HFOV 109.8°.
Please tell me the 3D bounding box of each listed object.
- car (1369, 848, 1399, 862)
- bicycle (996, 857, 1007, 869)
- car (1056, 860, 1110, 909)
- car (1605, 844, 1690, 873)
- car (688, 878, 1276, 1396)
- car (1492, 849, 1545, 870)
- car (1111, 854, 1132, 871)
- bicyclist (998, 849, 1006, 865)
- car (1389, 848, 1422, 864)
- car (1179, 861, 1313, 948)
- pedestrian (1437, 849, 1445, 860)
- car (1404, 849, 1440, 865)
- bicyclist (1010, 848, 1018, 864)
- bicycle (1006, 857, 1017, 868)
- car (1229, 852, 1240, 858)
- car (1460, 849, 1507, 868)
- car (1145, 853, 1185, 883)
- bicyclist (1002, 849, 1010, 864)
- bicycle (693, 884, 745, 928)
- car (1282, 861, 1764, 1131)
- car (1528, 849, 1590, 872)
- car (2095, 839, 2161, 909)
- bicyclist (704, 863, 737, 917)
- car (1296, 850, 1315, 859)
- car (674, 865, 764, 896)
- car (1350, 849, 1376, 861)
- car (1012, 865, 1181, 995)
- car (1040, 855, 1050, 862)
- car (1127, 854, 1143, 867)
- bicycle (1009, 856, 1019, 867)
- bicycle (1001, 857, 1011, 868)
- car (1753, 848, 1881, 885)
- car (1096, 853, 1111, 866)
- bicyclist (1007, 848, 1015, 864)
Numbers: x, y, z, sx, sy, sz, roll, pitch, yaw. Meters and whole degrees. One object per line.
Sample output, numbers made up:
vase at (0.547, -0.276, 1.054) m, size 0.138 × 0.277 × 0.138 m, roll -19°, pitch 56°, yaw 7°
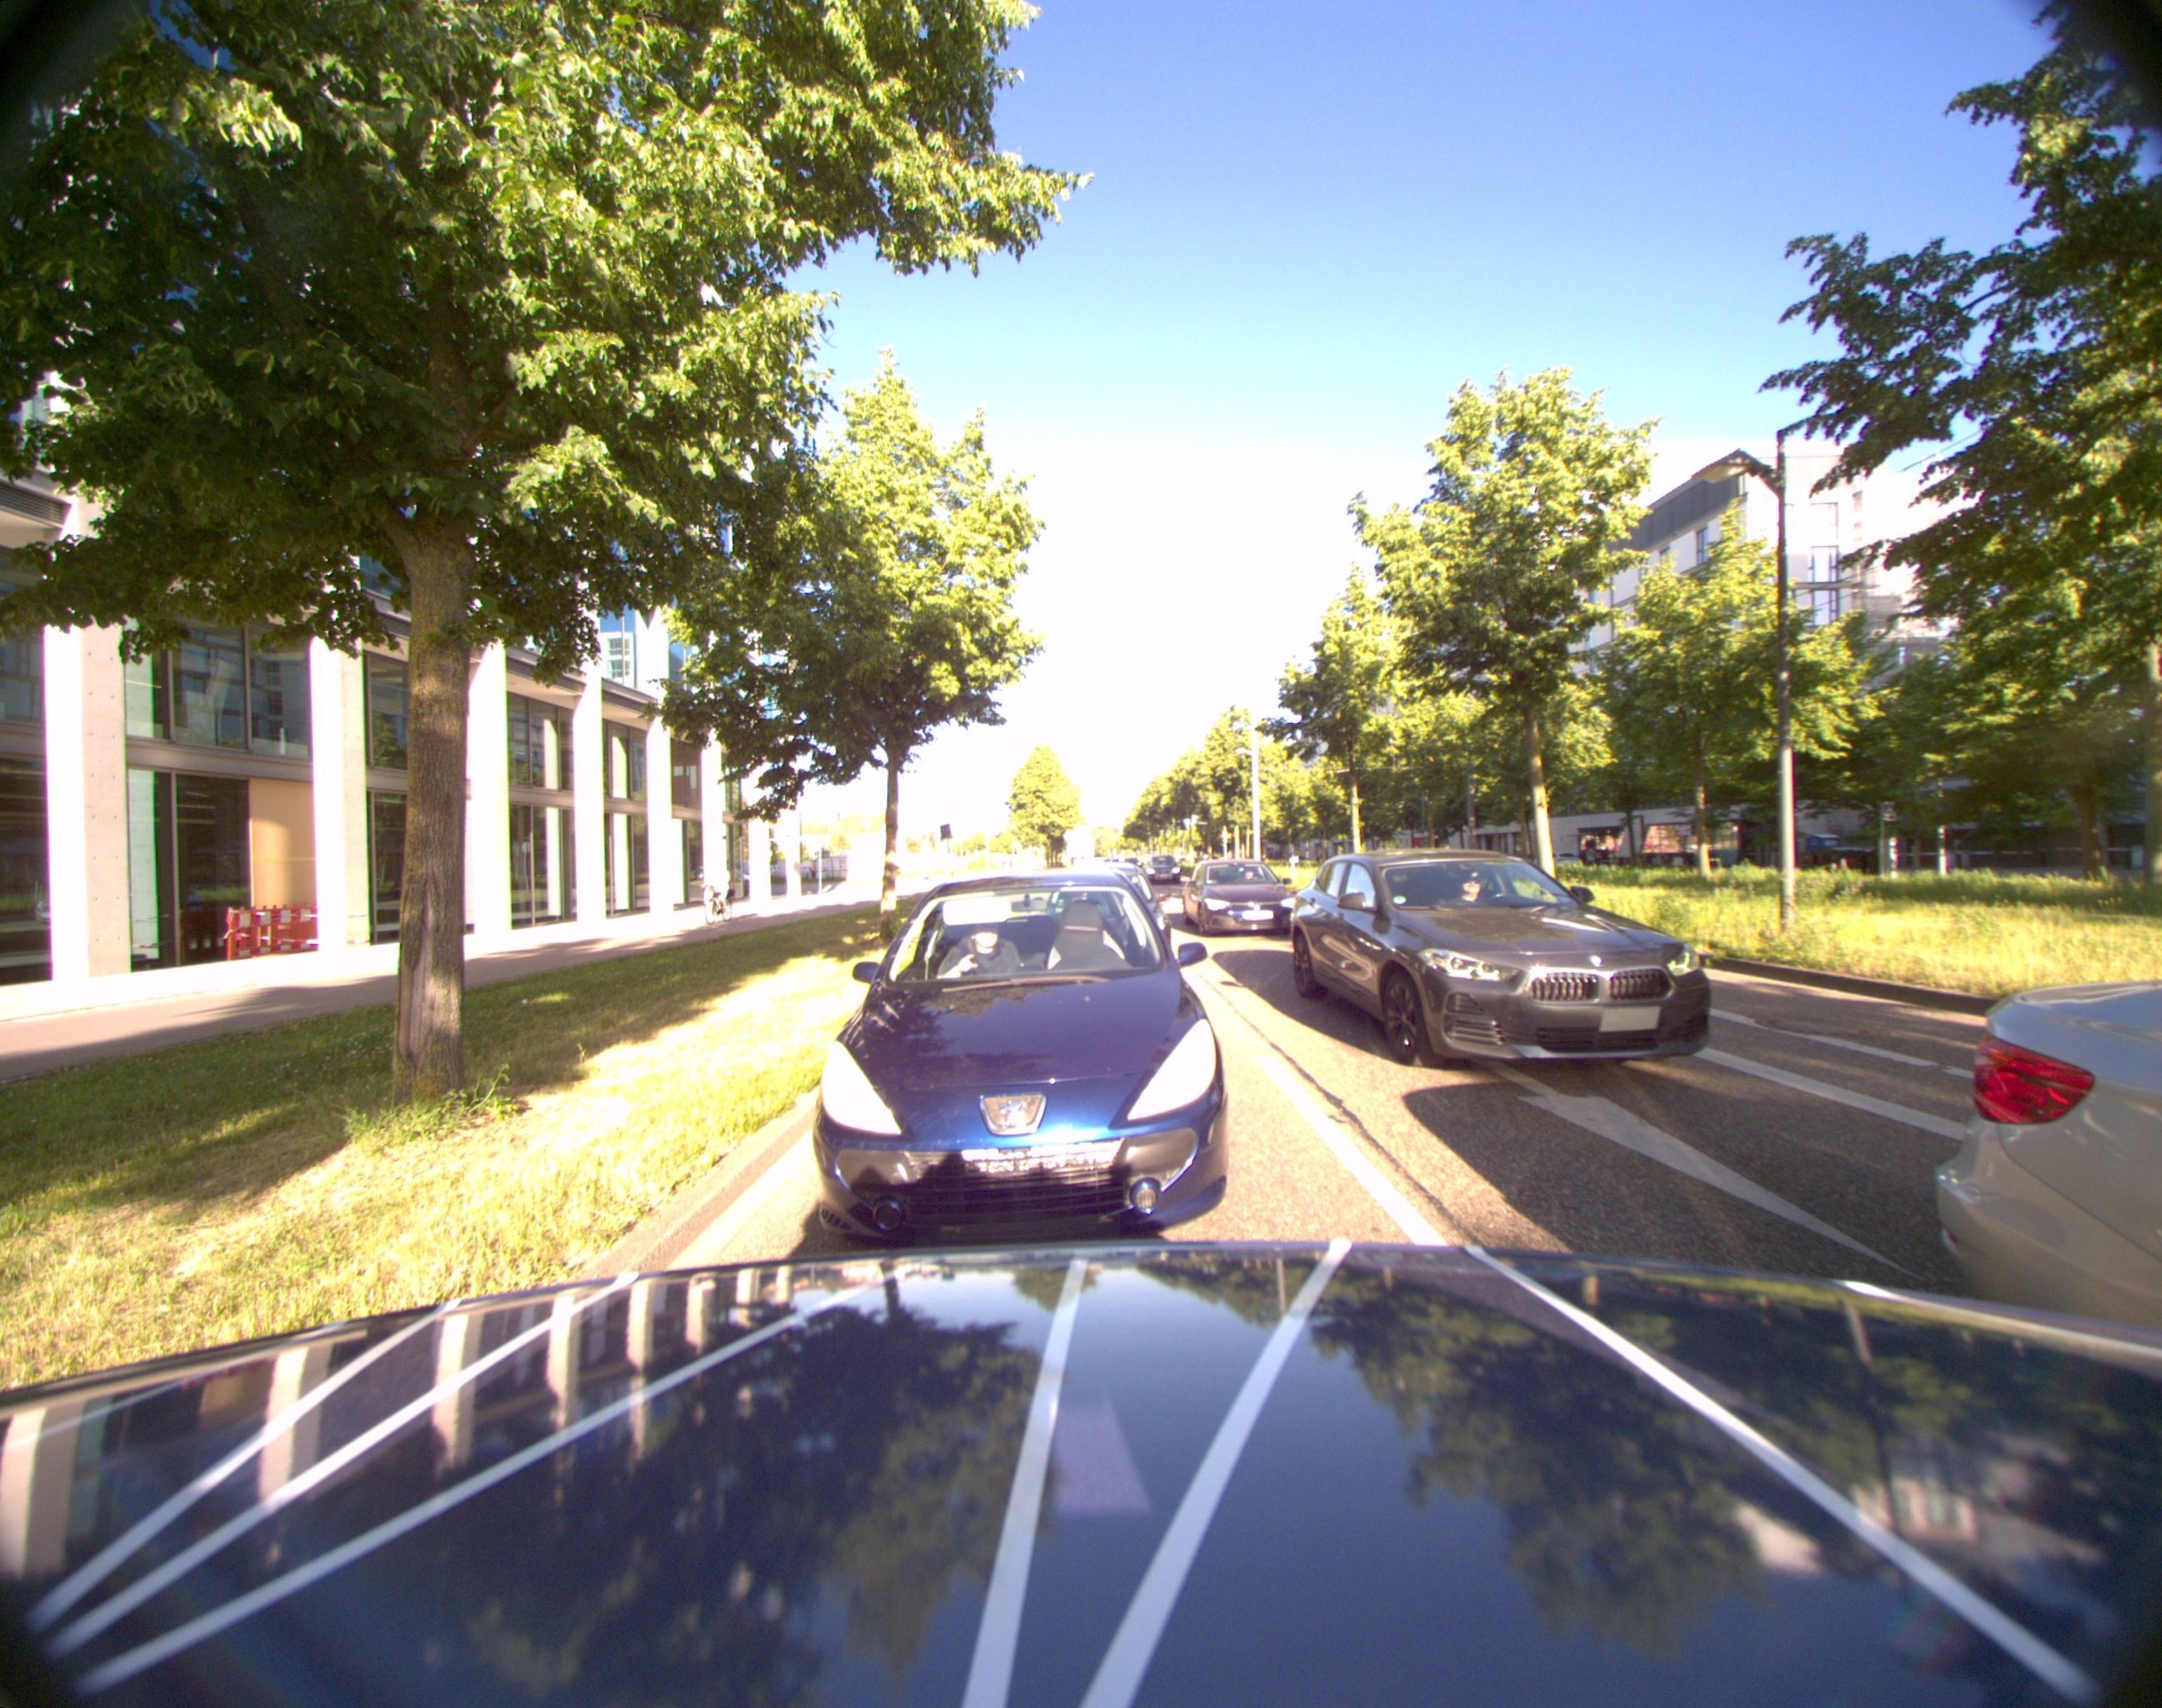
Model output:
car at (35.496, 0.149, 89.030) m, size 1.884 × 1.588 × 4.184 m, roll -1°, pitch 0°, yaw 1°
bicycle at (-10.243, 1.154, 98.536) m, size 0.931 × 1.355 × 4.000 m, roll -1°, pitch 0°, yaw 1°
car at (0.112, 1.001, 26.735) m, size 1.724 × 1.516 × 4.000 m, roll -1°, pitch 0°, yaw 1°
car at (33.596, 0.239, 45.209) m, size 1.951 × 1.588 × 4.184 m, roll -1°, pitch 0°, yaw 1°
car at (-0.290, 0.984, 4.680) m, size 1.846 × 1.473 × 4.481 m, roll -2°, pitch 0°, yaw 1°
car at (35.183, 0.414, 61.236) m, size 1.884 × 1.588 × 4.184 m, roll -1°, pitch 0°, yaw 1°
car at (3.767, 0.768, 71.852) m, size 1.878 × 1.561 × 4.344 m, roll -1°, pitch 0°, yaw 2°
bicyclist at (-10.253, 0.371, 98.547) m, size 0.931 × 2.045 × 1.121 m, roll -1°, pitch 1°, yaw 1°
car at (35.438, 0.205, 83.109) m, size 1.884 × 1.588 × 4.184 m, roll -1°, pitch 0°, yaw 1°
car at (3.135, 0.902, 15.324) m, size 1.878 × 1.415 × 4.344 m, roll -1°, pitch 0°, yaw 2°
pedestrian at (42.166, 0.079, 88.948) m, size 0.604 × 1.331 × 0.660 m, roll -1°, pitch 1°, yaw 1°
car at (35.026, 0.274, 78.201) m, size 1.884 × 1.588 × 4.184 m, roll -1°, pitch 0°, yaw 1°
bicyclist at (-9.035, 0.256, 102.909) m, size 0.931 × 2.045 × 1.121 m, roll -1°, pitch 1°, yaw 1°
bicycle at (-9.063, 1.077, 98.845) m, size 0.931 × 1.355 × 4.000 m, roll -1°, pitch 0°, yaw 1°
car at (36.108, 0.189, 179.237) m, size 1.998 × 1.387 × 4.001 m, roll -1°, pitch 0°, yaw 4°
car at (35.150, 0.370, 66.519) m, size 1.884 × 1.588 × 4.184 m, roll -1°, pitch 0°, yaw 1°
car at (4.672, 0.751, 42.769) m, size 1.878 × 1.577 × 4.344 m, roll -1°, pitch 0°, yaw 2°
bicyclist at (-10.184, 0.331, 102.651) m, size 0.931 × 2.045 × 1.121 m, roll -1°, pitch 1°, yaw 1°
bicycle at (-10.274, 1.450, 21.641) m, size 0.591 × 1.149 × 1.927 m, roll 1°, pitch 0°, yaw -1°
car at (3.068, 0.851, 6.384) m, size 1.860 × 1.482 × 4.001 m, roll -1°, pitch 0°, yaw 3°
car at (34.897, 0.481, 55.619) m, size 1.884 × 1.588 × 4.184 m, roll -1°, pitch 0°, yaw 1°
car at (25.392, 0.452, 16.059) m, size 1.803 × 1.474 × 4.568 m, roll -5°, pitch 0°, yaw 1°
bicyclist at (-10.266, 1.010, 21.635) m, size 0.591 × 1.530 × 0.699 m, roll 1°, pitch 0°, yaw -2°
car at (36.604, 0.023, 124.159) m, size 1.998 × 1.387 × 4.000 m, roll -1°, pitch 0°, yaw 1°
car at (-20.046, 1.436, 42.155) m, size 3.996 × 1.569 × 2.000 m, roll -1°, pitch 0°, yaw 3°
car at (35.348, 0.087, 95.220) m, size 1.998 × 1.387 × 4.001 m, roll -1°, pitch 0°, yaw 4°
car at (0.217, 0.954, 11.462) m, size 1.998 × 1.437 × 4.622 m, roll -1°, pitch 0°, yaw 1°
car at (-9.075, 1.135, 191.599) m, size 1.998 × 1.556 × 4.835 m, roll -1°, pitch 0°, yaw 1°
car at (6.803, 0.769, 96.392) m, size 1.878 × 1.561 × 4.344 m, roll -1°, pitch 0°, yaw 2°
bicycle at (-9.033, 1.038, 102.999) m, size 0.931 × 1.355 × 4.000 m, roll -1°, pitch 0°, yaw 1°
bicycle at (-10.184, 1.111, 102.923) m, size 0.931 × 1.355 × 4.000 m, roll -1°, pitch 0°, yaw 1°
car at (34.081, 0.543, 35.357) m, size 1.951 × 1.588 × 4.184 m, roll -1°, pitch 0°, yaw 1°
car at (2.819, 0.616, 95.840) m, size 1.879 × 1.561 × 4.344 m, roll -1°, pitch 0°, yaw 1°
bicyclist at (-9.084, 0.296, 98.748) m, size 0.931 × 2.045 × 1.121 m, roll -1°, pitch 1°, yaw 1°
